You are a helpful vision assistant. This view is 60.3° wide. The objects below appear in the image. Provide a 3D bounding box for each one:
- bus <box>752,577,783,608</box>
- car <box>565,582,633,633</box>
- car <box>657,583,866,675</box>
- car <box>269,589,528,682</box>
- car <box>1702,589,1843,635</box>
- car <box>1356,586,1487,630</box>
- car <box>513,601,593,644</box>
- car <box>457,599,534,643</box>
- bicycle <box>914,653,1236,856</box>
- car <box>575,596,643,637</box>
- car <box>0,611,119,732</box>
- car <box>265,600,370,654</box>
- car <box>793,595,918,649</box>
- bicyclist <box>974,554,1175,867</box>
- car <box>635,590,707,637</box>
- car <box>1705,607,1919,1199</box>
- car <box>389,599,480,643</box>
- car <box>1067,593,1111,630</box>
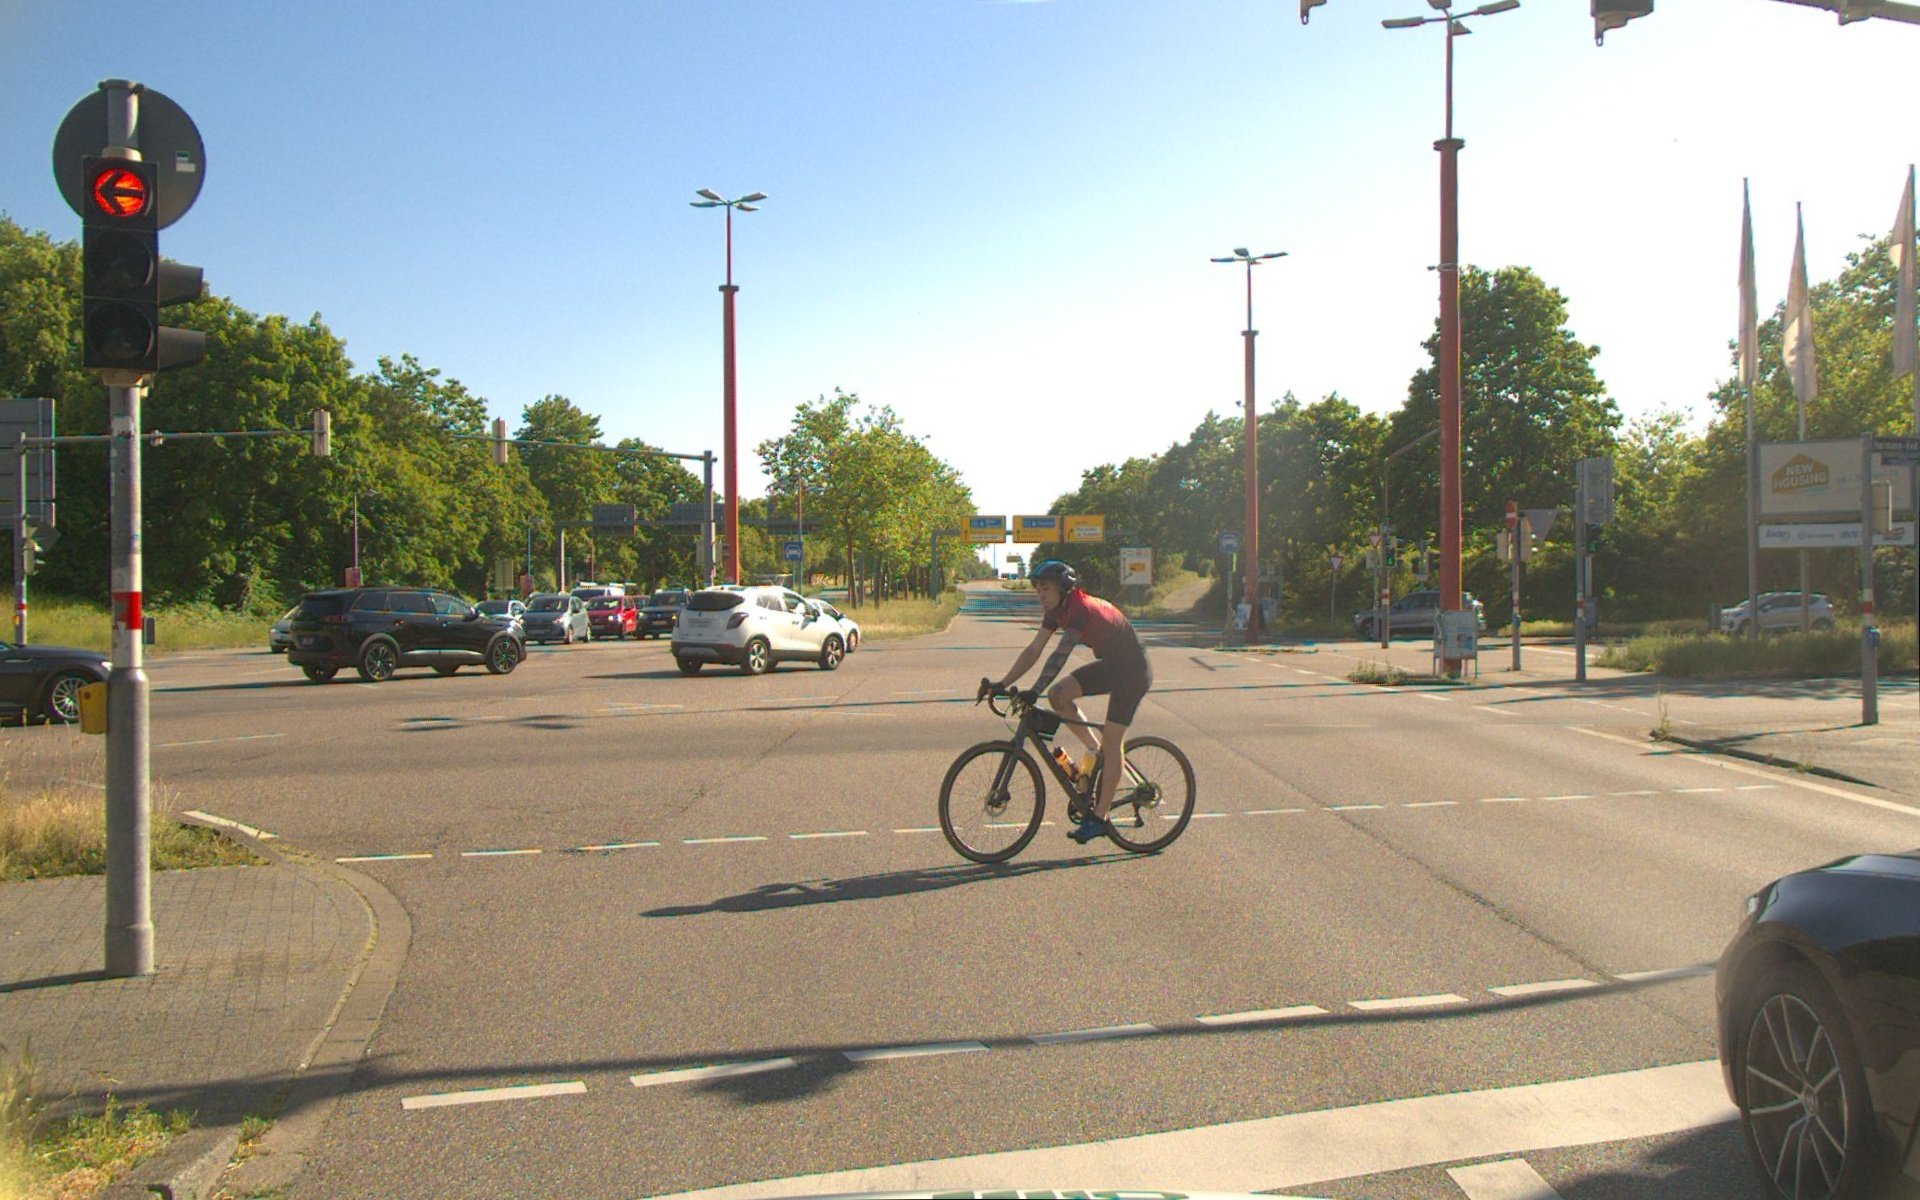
[{"bbox_3d":[-21.237,-0.834,182.999,2.441,3.295,9.998,0,0,-1],"label":"bus"},{"bbox_3d":[-15.438,0.328,70.960,1.855,2.061,5.221,1,0,-2],"label":"car"},{"bbox_3d":[-3.788,0.517,32.297,1.790,1.665,4.241,0,0,32],"label":"car"},{"bbox_3d":[-10.210,0.602,30.350,1.821,1.572,4.246,0,0,36],"label":"car"},{"bbox_3d":[27.139,0.384,55.321,3.901,1.493,1.684,0,0,-1],"label":"car"},{"bbox_3d":[16.318,0.292,58.499,4.229,1.511,1.784,0,0,24],"label":"car"},{"bbox_3d":[-12.673,0.673,51.692,1.704,1.265,3.611,0,0,-2],"label":"car"},{"bbox_3d":[-15.932,0.705,56.850,1.704,1.436,3.611,0,0,-2],"label":"car"},{"bbox_3d":[0.689,0.885,9.902,1.800,1.076,0.718,0,0,-22],"label":"bicycle"},{"bbox_3d":[-12.280,0.557,58.069,1.704,1.386,3.611,0,0,-2],"label":"car"},{"bbox_3d":[-12.308,0.846,19.094,1.736,1.373,4.331,0,0,45],"label":"car"},{"bbox_3d":[-19.477,0.779,50.310,1.725,1.559,3.934,0,0,-2],"label":"car"},{"bbox_3d":[-2.743,0.591,44.354,1.454,1.369,3.994,0,-1,28],"label":"car"},{"bbox_3d":[0.674,0.621,9.898,0.980,1.772,0.732,0,0,-22],"label":"bicyclist"},{"bbox_3d":[-9.733,0.433,55.921,1.782,1.534,3.999,0,0,-1],"label":"car"},{"bbox_3d":[2.936,0.735,2.355,1.831,1.422,4.444,0,0,1],"label":"car"},{"bbox_3d":[-16.054,0.615,50.671,1.704,1.265,3.611,0,0,-2],"label":"car"},{"bbox_3d":[5.317,0.440,67.925,1.644,1.460,4.068,0,0,7],"label":"car"}]
